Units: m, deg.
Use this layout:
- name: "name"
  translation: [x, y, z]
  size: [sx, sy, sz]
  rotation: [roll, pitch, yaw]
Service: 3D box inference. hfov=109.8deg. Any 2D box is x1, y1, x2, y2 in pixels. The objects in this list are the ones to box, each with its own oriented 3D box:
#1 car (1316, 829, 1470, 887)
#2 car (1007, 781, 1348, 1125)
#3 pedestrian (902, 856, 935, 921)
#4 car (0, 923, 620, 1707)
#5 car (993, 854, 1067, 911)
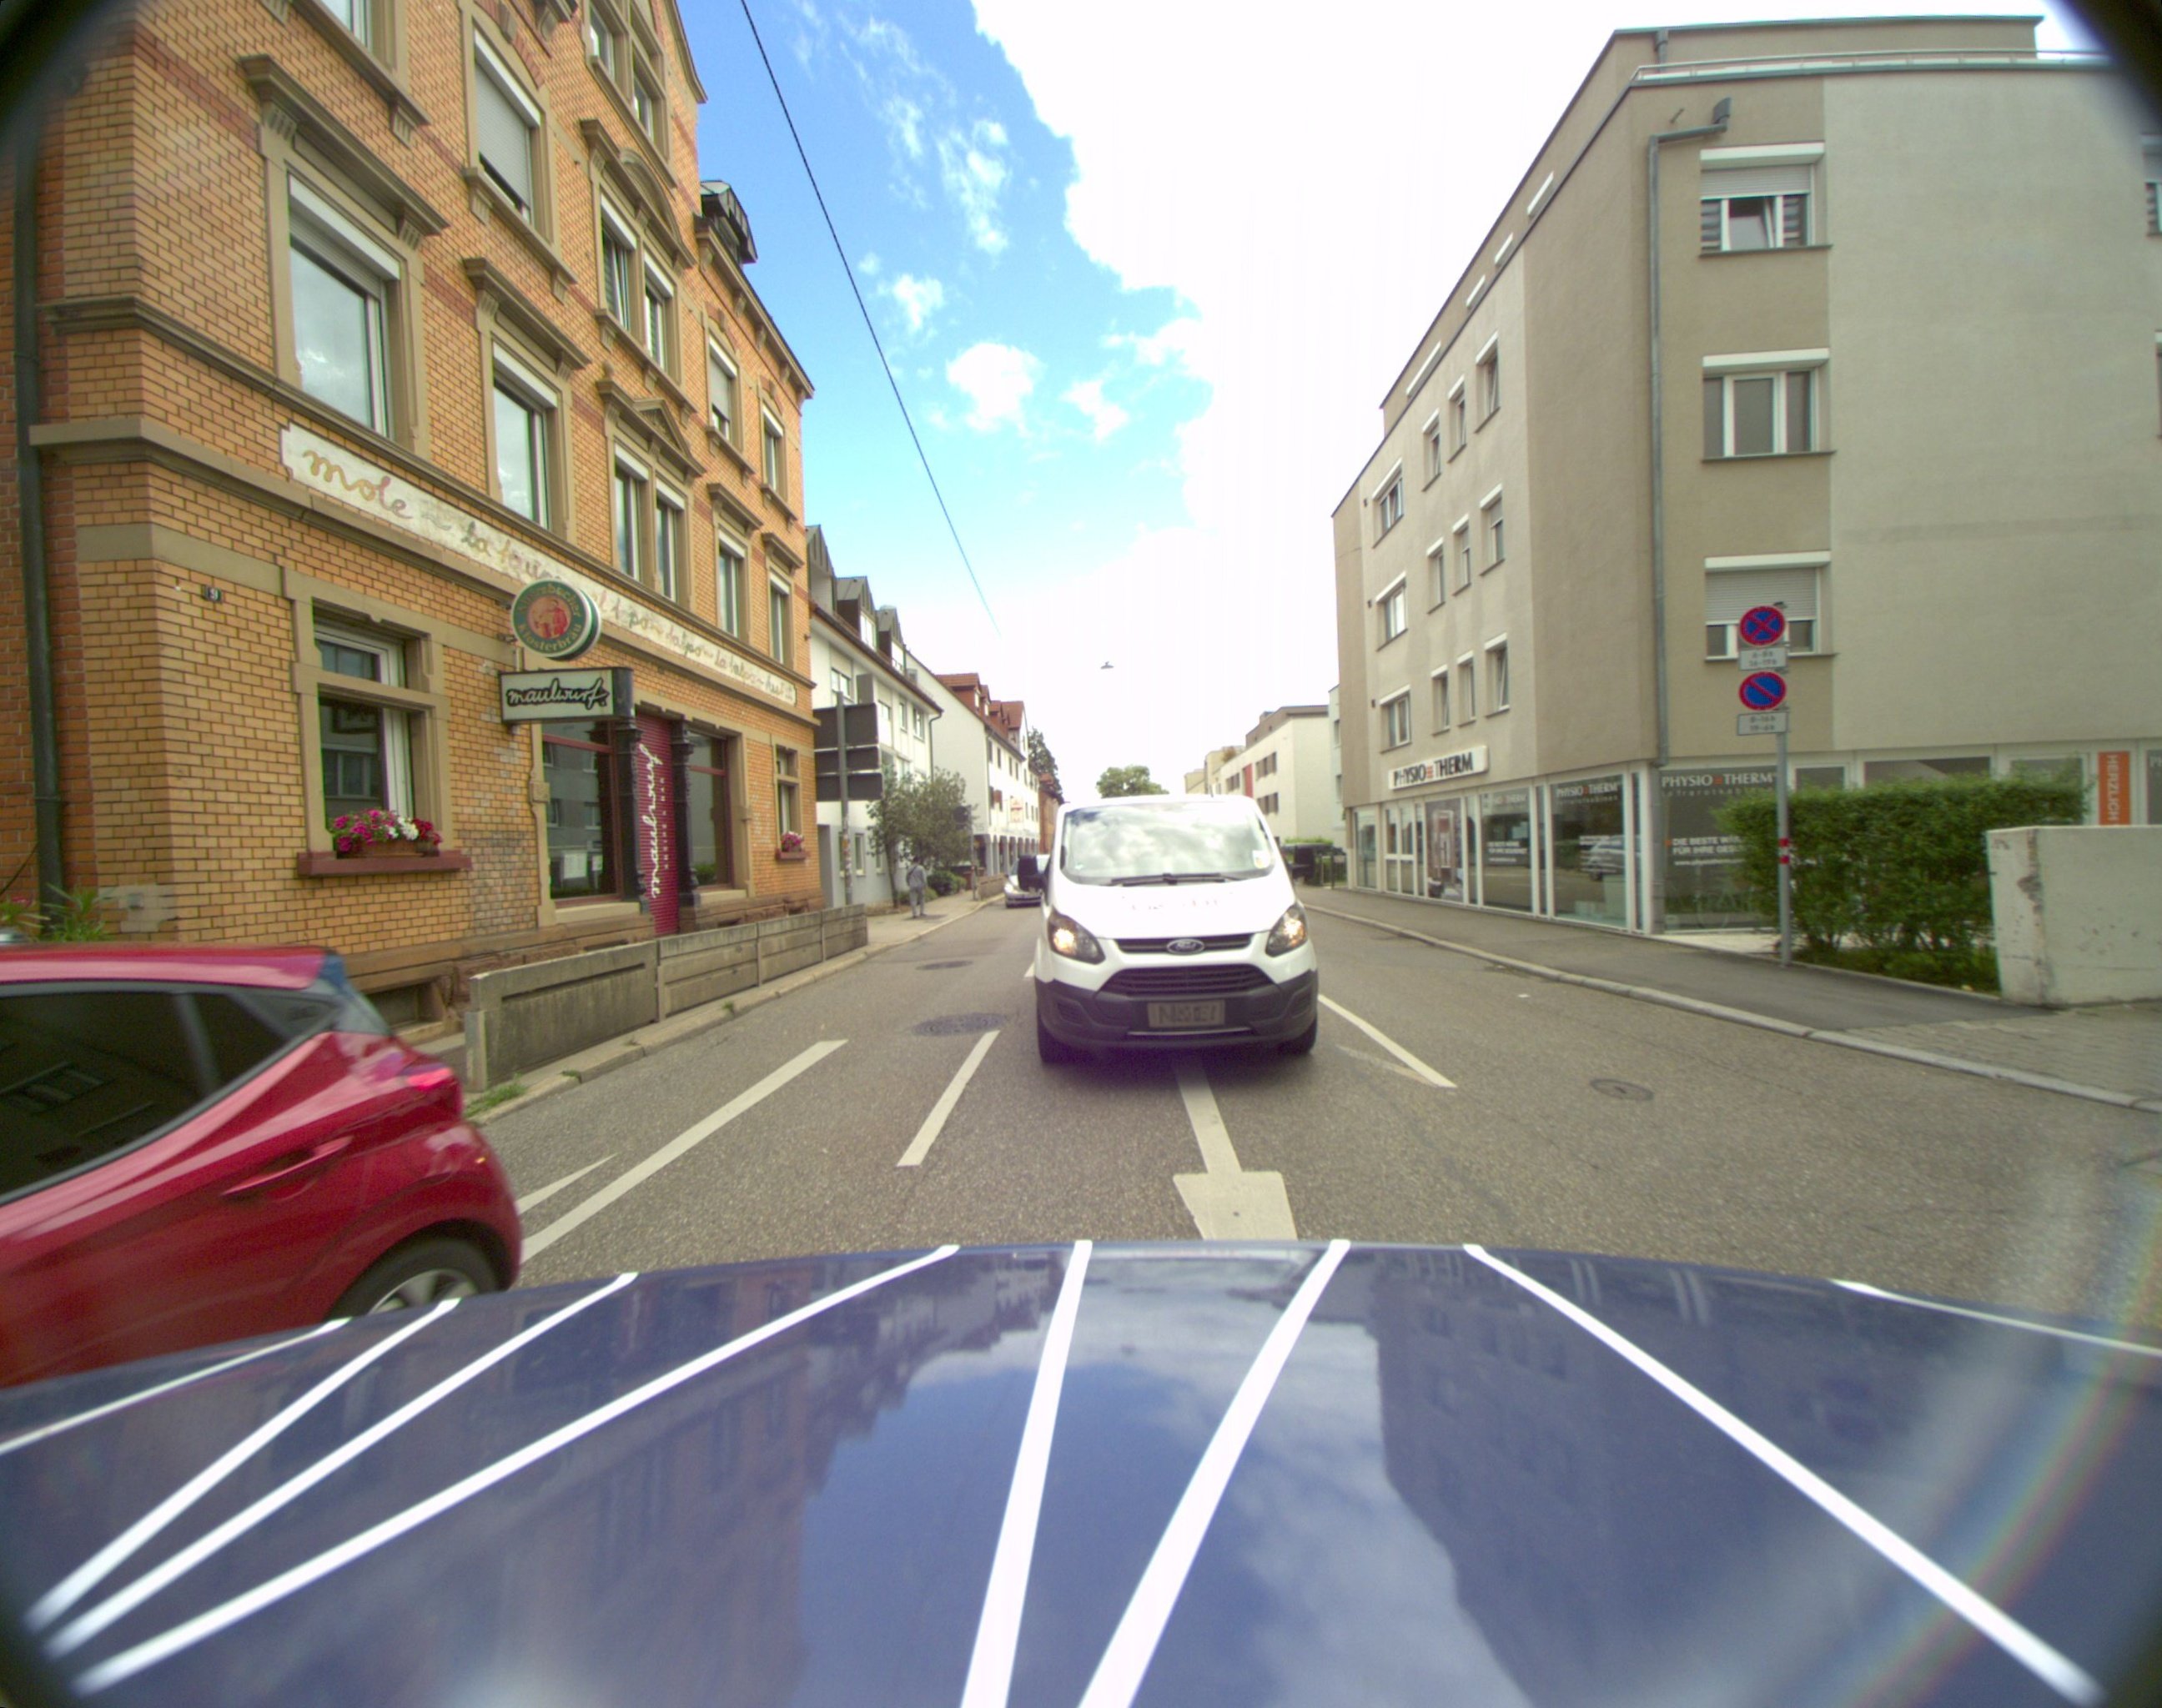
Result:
- name: "car"
  translation: [11.862, 0.148, 29.145]
  size: [5.082, 1.986, 1.966]
  rotation: [-2, 1, 4]
- name: "car"
  translation: [0.593, 0.573, 7.060]
  size: [1.965, 1.986, 5.087]
  rotation: [-2, 0, 0]
- name: "pedestrian"
  translation: [-4.465, 0.941, 20.875]
  size: [0.690, 1.721, 0.650]
  rotation: [-2, 1, 0]
- name: "car"
  translation: [-2.670, 1.056, 0.794]
  size: [1.702, 1.444, 4.000]
  rotation: [-4, 0, 2]
- name: "car"
  translation: [-1.584, 0.864, 25.325]
  size: [1.998, 1.537, 4.570]
  rotation: [-4, 0, 0]
